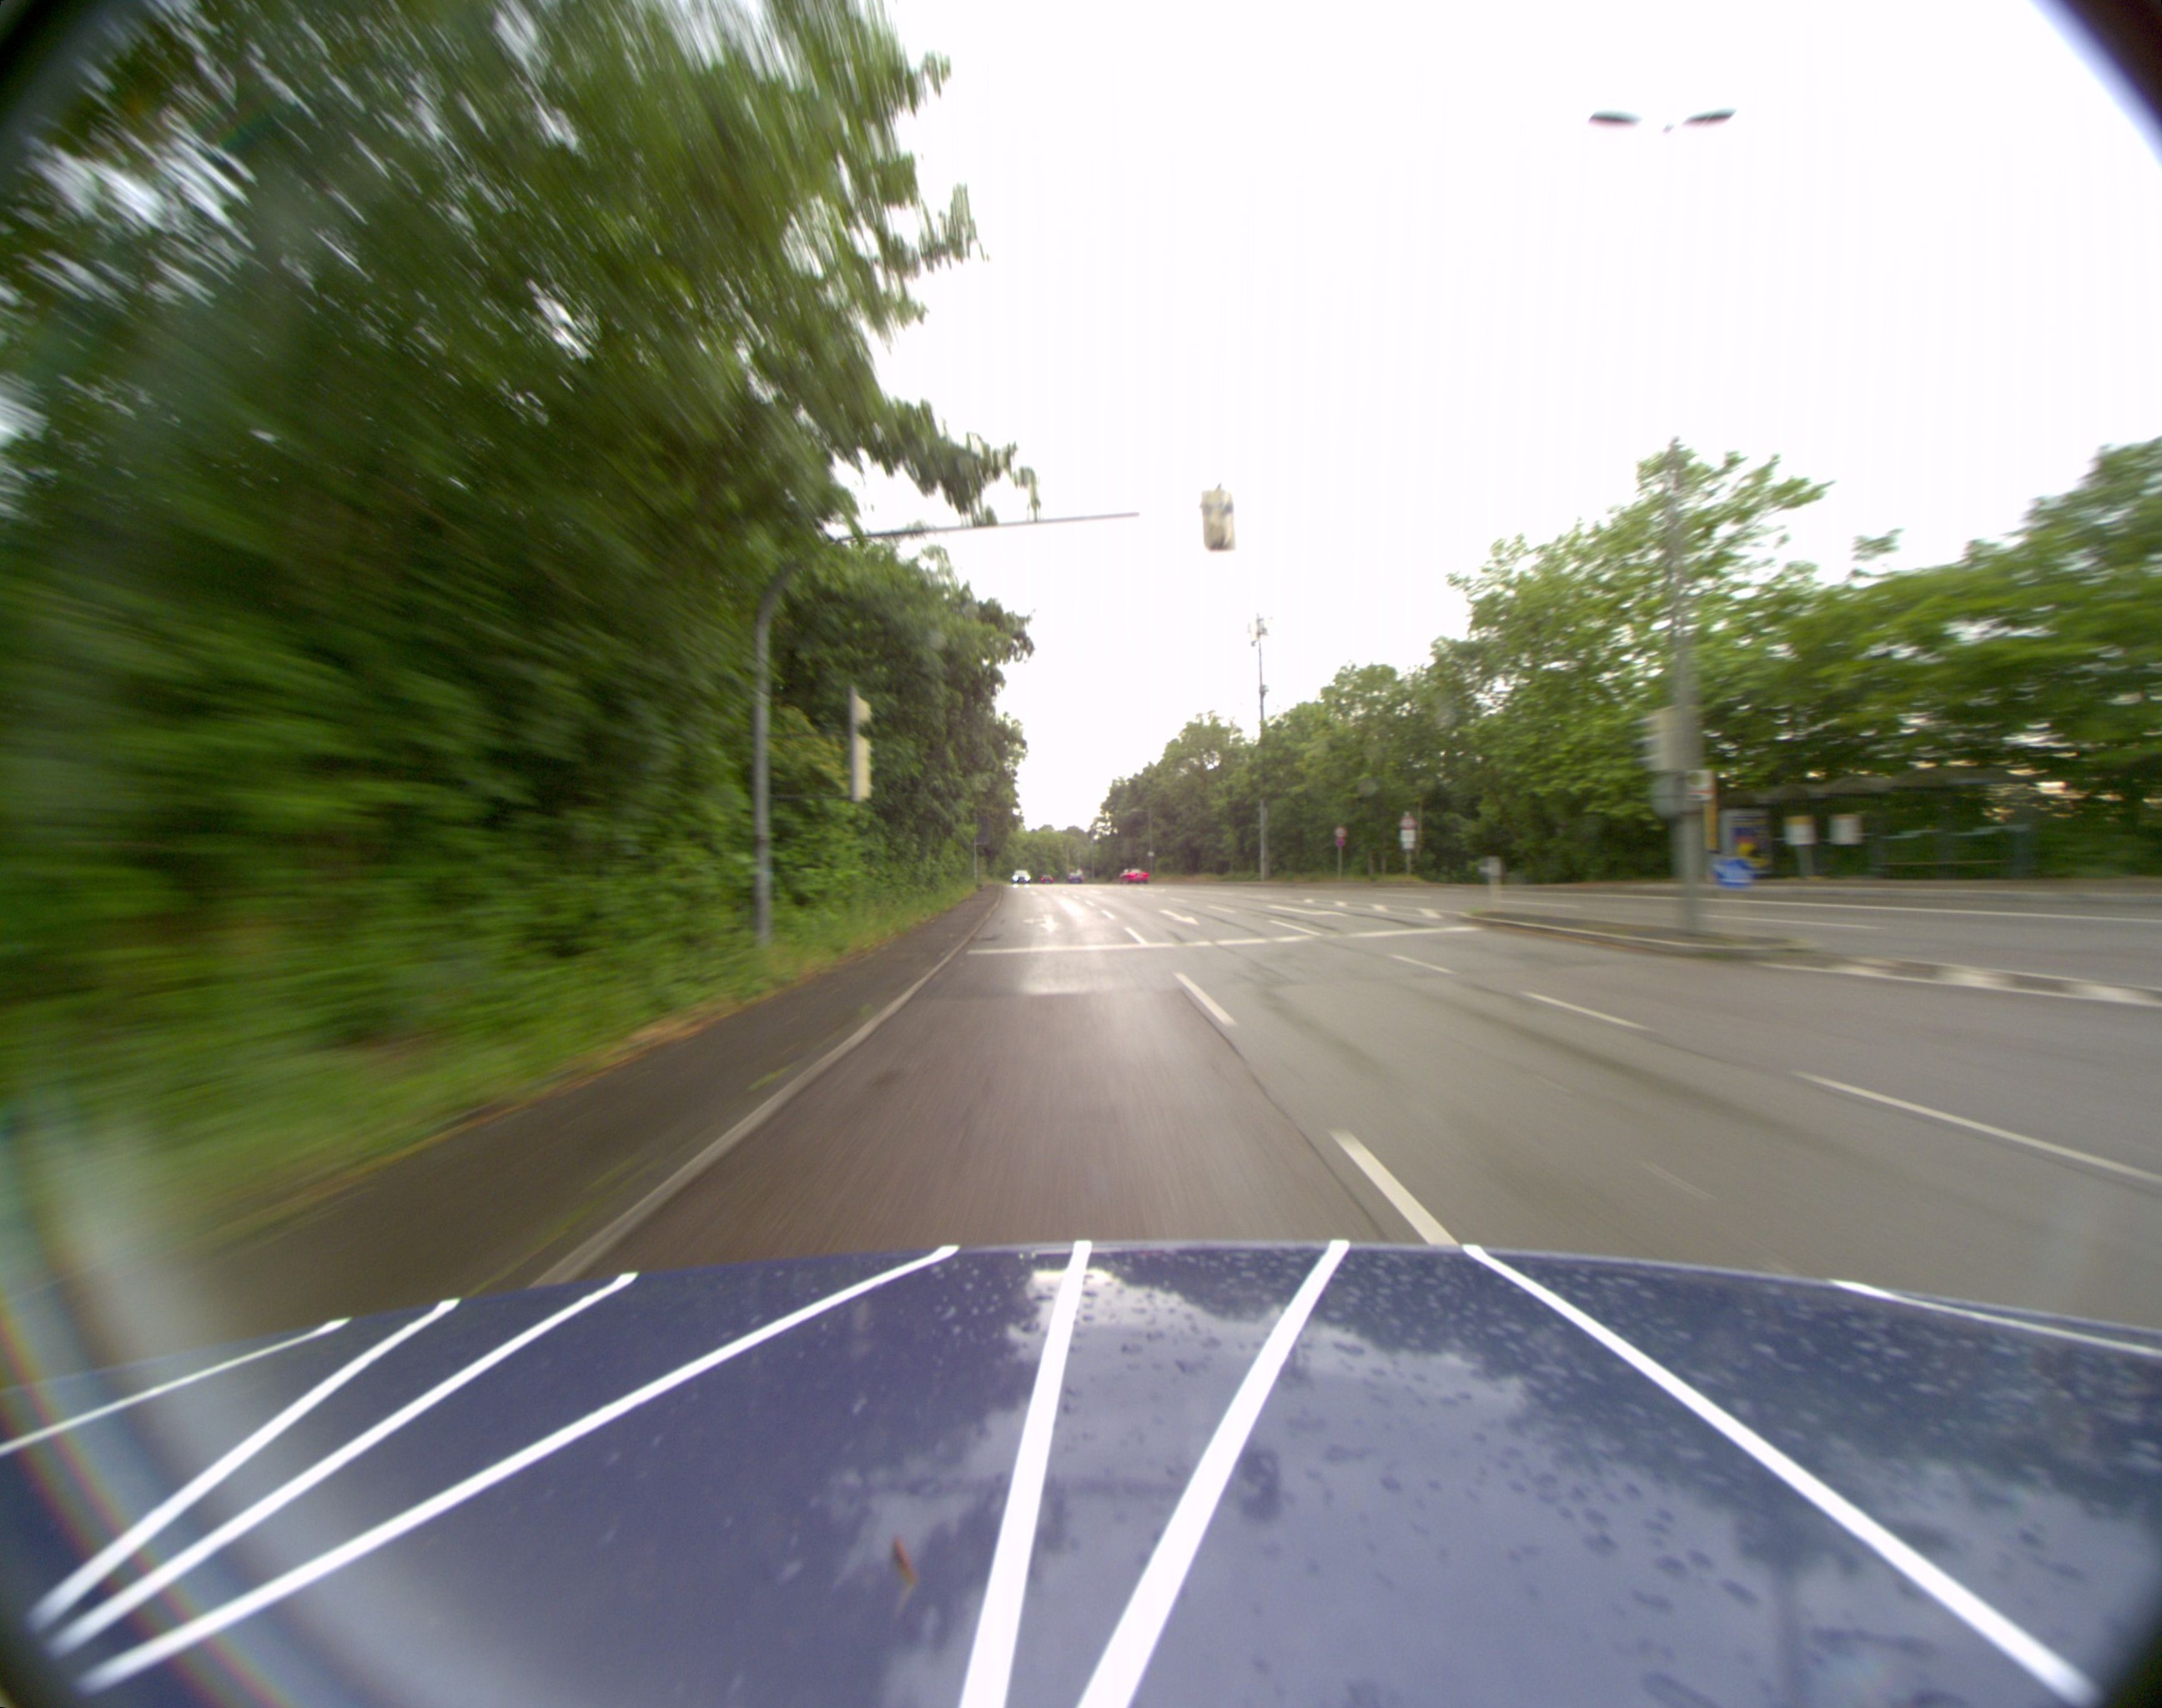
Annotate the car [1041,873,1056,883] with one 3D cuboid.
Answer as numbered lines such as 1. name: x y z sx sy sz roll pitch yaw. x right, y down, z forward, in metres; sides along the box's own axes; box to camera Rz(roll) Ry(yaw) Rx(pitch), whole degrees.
1. car: -4.880 3.604 113.102 1.707 1.419 4.075 0 -1 -11

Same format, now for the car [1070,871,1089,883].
1. car: -0.212 2.862 96.079 1.637 1.386 3.997 0 -1 -10

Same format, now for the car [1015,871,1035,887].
1. car: -5.660 2.503 76.537 1.999 1.576 3.999 1 -1 -5

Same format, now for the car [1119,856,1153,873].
1. car: 4.761 0.921 66.284 1.882 1.366 4.381 -1 -1 -11
